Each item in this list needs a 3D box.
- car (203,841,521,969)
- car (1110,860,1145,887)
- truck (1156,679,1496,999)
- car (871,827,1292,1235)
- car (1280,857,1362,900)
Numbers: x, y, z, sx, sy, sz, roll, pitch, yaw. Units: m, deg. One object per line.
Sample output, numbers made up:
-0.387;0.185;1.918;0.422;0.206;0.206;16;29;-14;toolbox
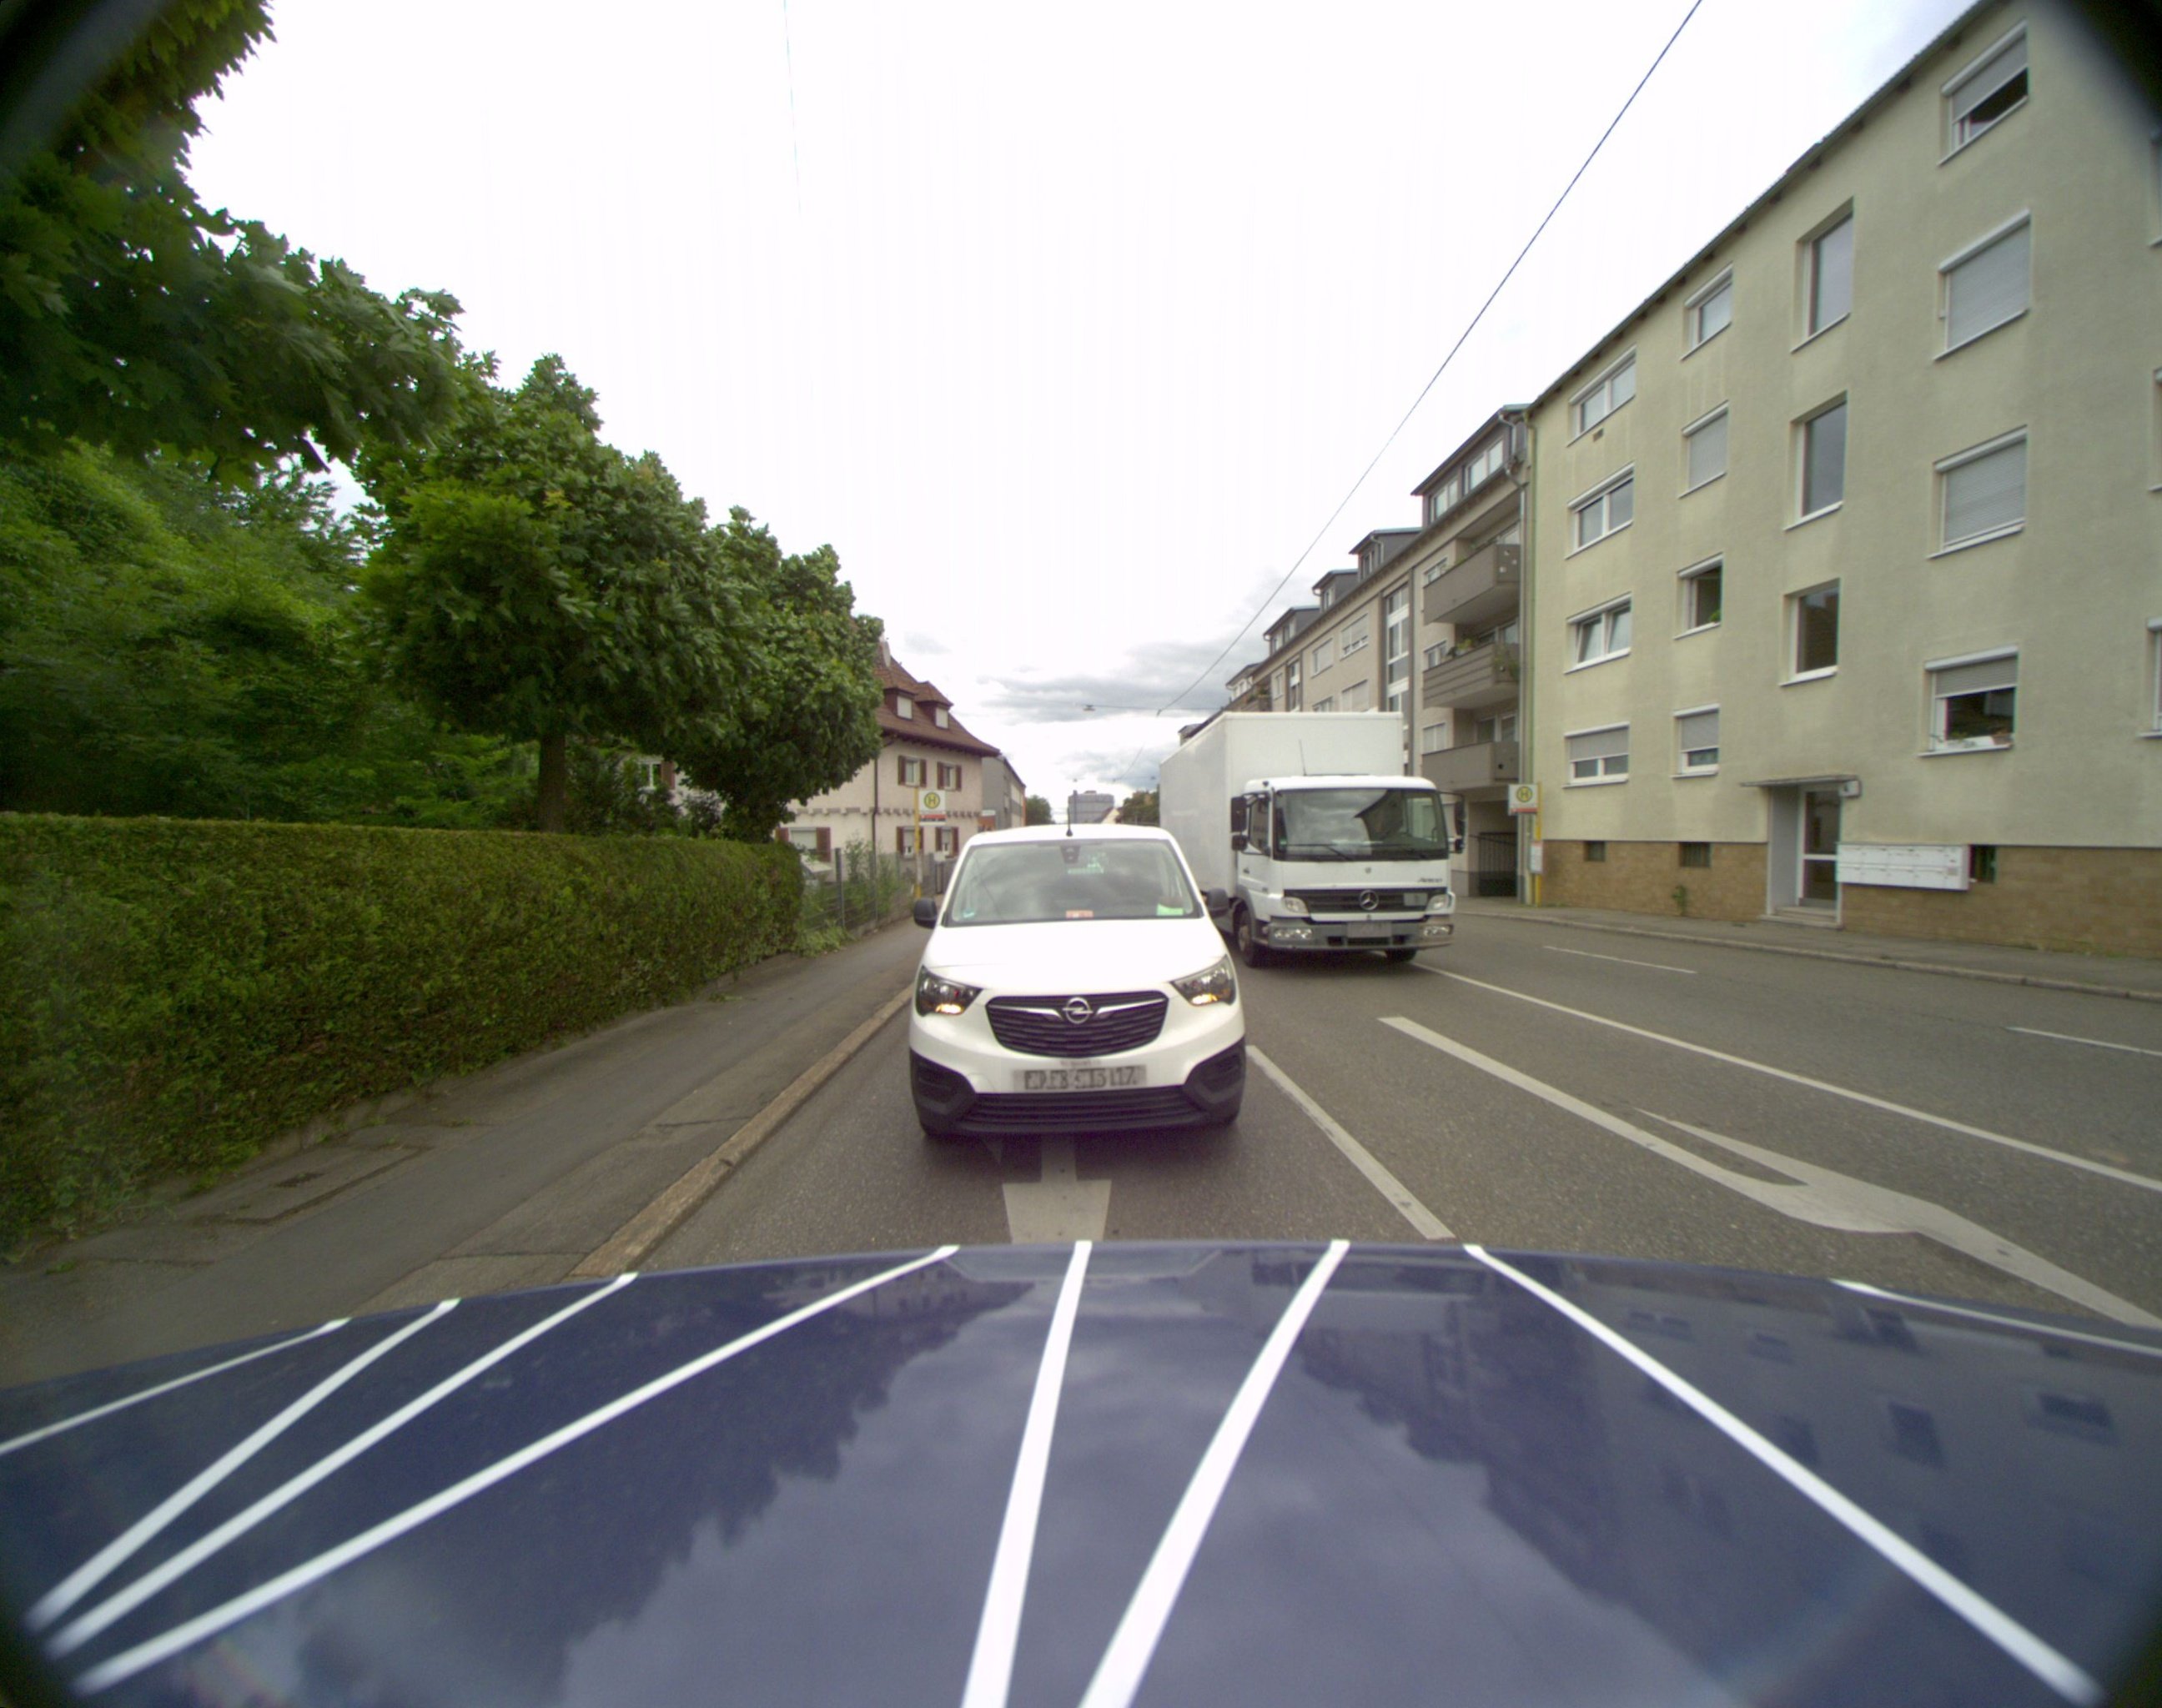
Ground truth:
-13.054;0.783;14.005;1.994;2.002;4.008;-1;0;40;car
2.497;1.032;41.442;1.700;1.365;4.178;-2;0;1;car
3.185;-0.158;12.652;2.776;3.554;8.063;-2;0;-2;truck
-0.053;0.769;5.390;1.803;1.736;3.999;-3;1;-2;car
8.982;0.874;28.790;1.773;1.428;3.800;2;0;-2;car
